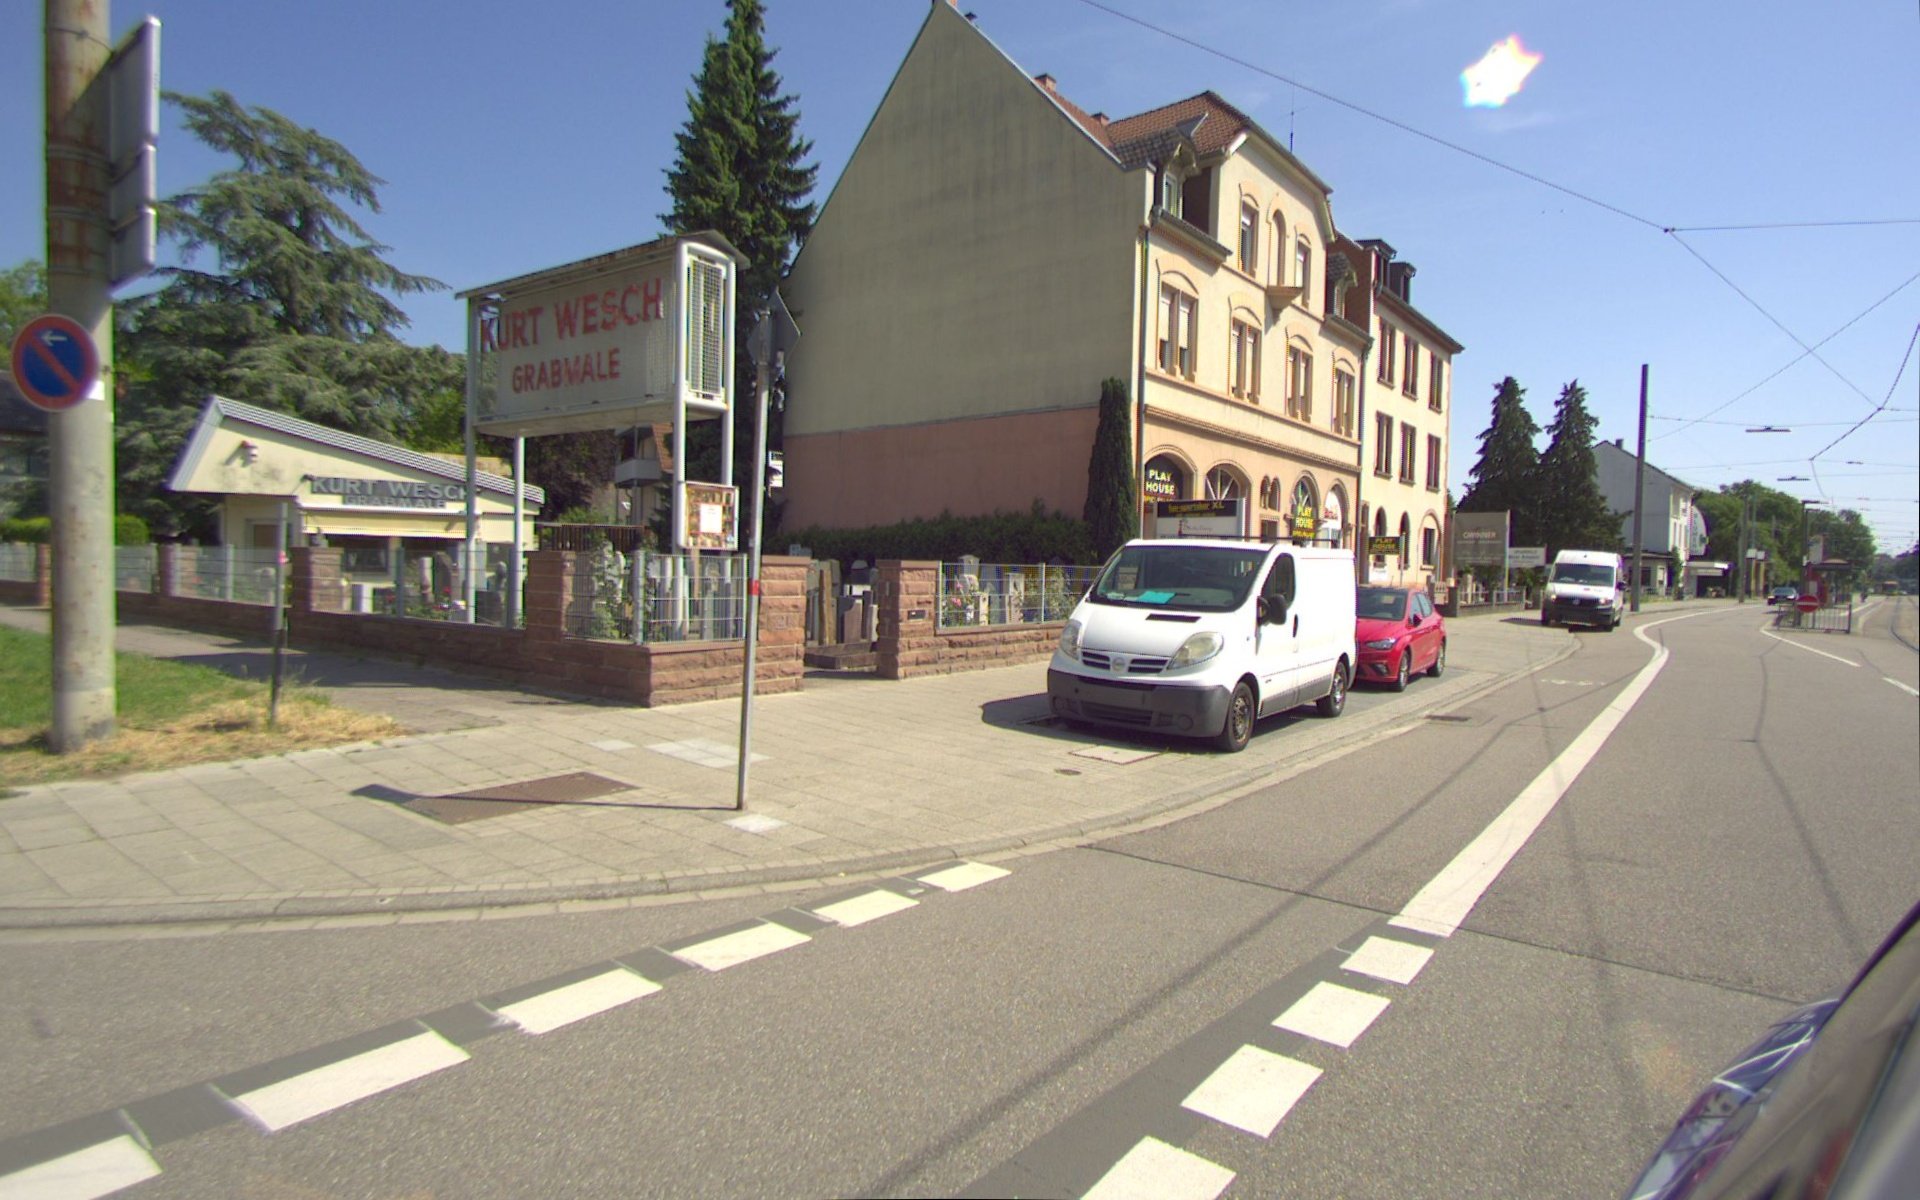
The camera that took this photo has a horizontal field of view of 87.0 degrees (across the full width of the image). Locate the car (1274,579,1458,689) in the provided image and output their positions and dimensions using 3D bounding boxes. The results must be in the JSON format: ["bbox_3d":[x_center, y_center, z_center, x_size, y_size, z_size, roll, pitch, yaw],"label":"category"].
[{"bbox_3d":[6.381,0.416,15.669,1.716,1.423,3.949,3,2,36],"label":"car"}]

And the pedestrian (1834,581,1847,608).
[{"bbox_3d":[54.788,-0.350,62.983,0.413,1.710,0.700,2,2,29],"label":"pedestrian"}]

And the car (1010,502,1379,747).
[{"bbox_3d":[2.777,0.122,10.976,2.079,2.038,4.843,3,3,37],"label":"car"}]

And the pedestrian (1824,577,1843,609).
[{"bbox_3d":[47.563,-0.360,55.098,0.703,1.710,0.411,2,2,36],"label":"pedestrian"}]

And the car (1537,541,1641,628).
[{"bbox_3d":[21.333,-0.569,34.194,2.325,2.566,6.421,5,4,36],"label":"car"}]

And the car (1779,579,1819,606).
[{"bbox_3d":[66.515,-0.630,80.248,3.934,2.038,1.996,-1,3,-44],"label":"car"}]
